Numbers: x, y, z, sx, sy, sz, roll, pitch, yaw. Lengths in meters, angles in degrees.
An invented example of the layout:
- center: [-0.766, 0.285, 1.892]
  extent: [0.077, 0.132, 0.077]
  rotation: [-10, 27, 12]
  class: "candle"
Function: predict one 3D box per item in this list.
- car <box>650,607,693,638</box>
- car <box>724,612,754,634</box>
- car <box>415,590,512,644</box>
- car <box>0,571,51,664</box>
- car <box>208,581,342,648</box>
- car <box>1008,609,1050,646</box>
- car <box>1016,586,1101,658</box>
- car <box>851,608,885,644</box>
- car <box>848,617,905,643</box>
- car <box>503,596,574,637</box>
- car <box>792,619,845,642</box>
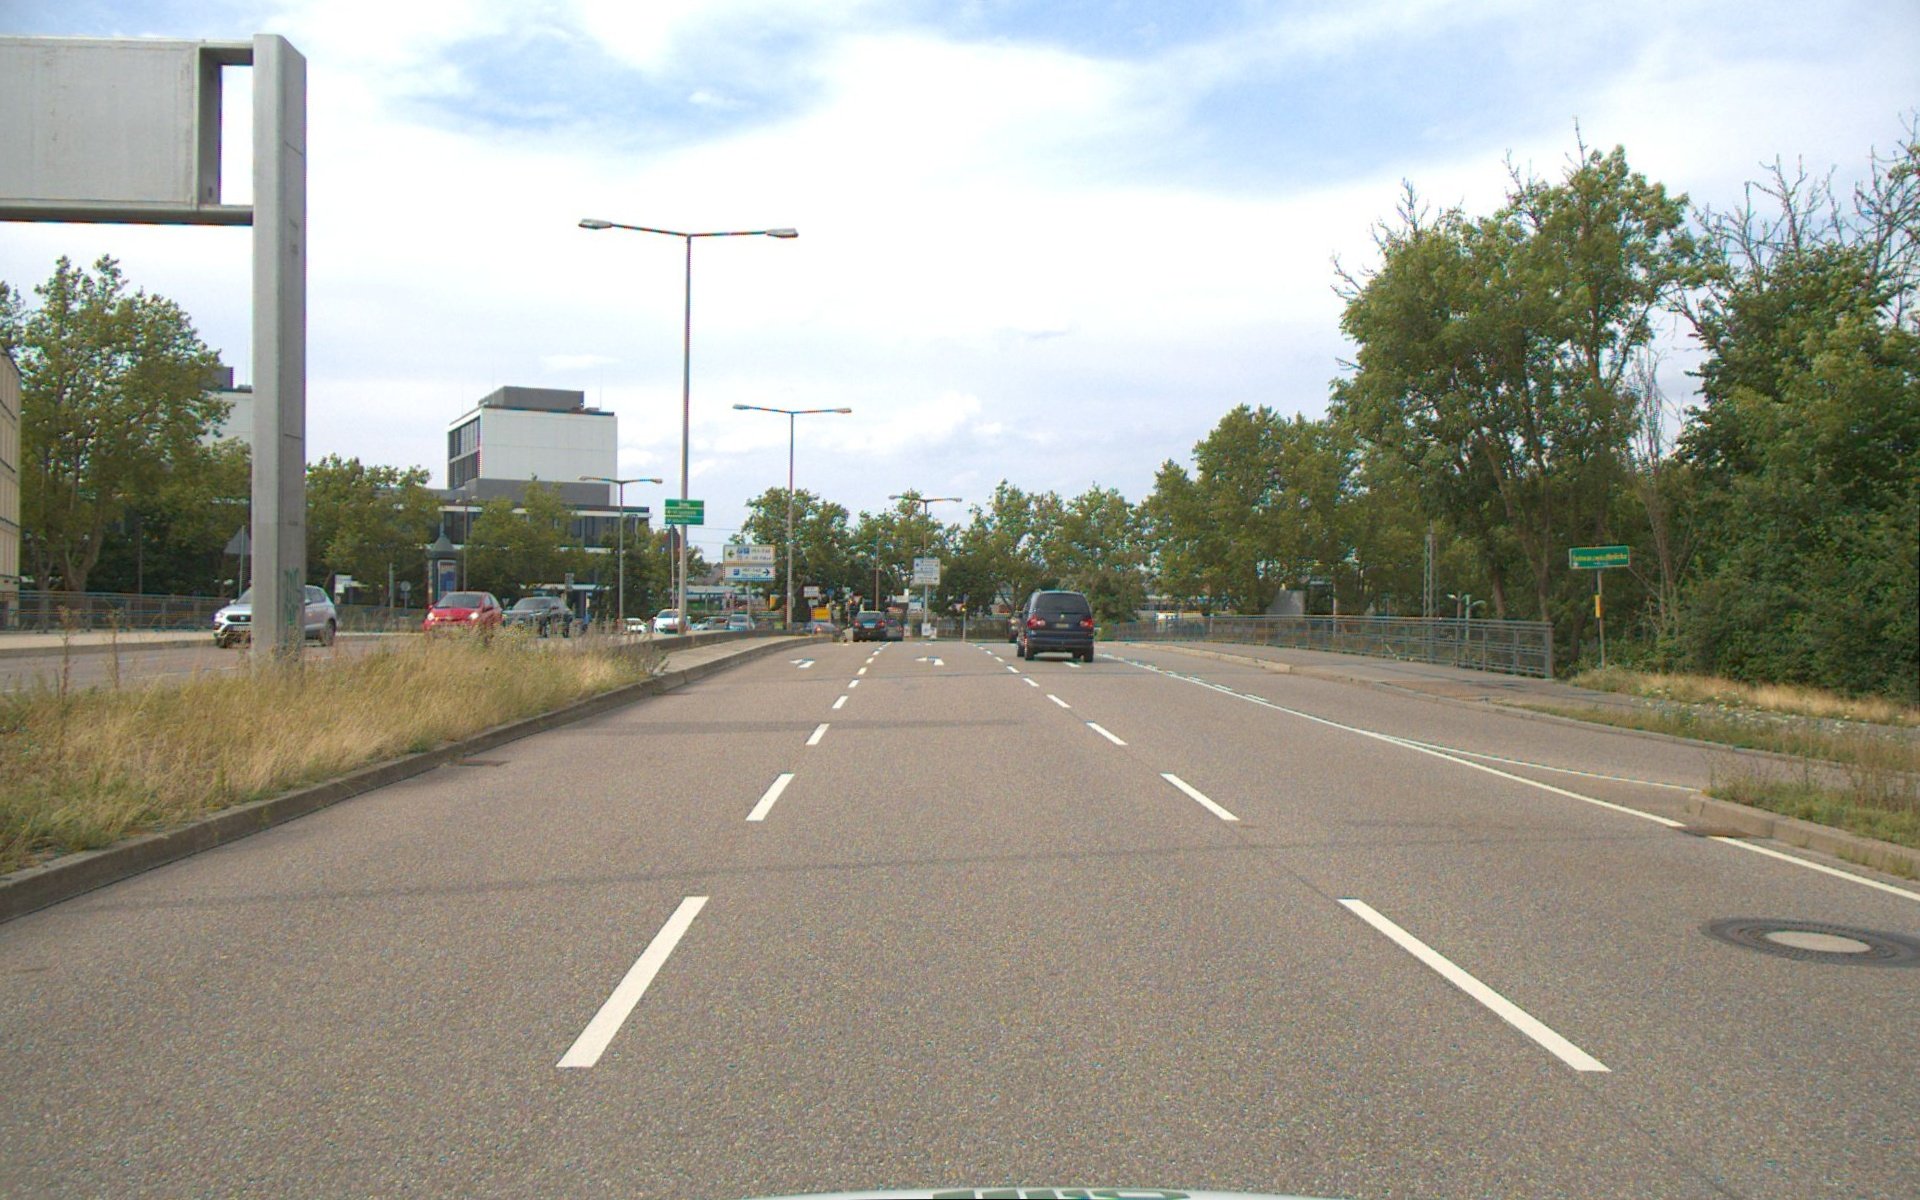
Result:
- center: [-14.776, 1.122, 84.878]
  extent: [1.702, 1.508, 4.080]
  rotation: [-1, 0, -4]
  class: "car"
- center: [-13.226, 1.368, 98.849]
  extent: [1.476, 1.235, 4.072]
  rotation: [-1, 0, -12]
  class: "car"
- center: [-14.274, 0.463, 47.744]
  extent: [1.757, 1.466, 3.796]
  rotation: [-1, 0, -2]
  class: "car"
- center: [-16.855, 0.314, 26.870]
  extent: [1.757, 1.551, 4.592]
  rotation: [-1, 0, -2]
  class: "car"
- center: [-17.165, 0.341, 41.656]
  extent: [1.757, 1.551, 4.187]
  rotation: [-1, 0, -2]
  class: "car"
- center: [3.458, 1.362, 83.530]
  extent: [1.696, 1.681, 4.113]
  rotation: [2, 1, -3]
  class: "car"
- center: [2.493, 0.532, 42.626]
  extent: [1.696, 1.681, 4.113]
  rotation: [2, 1, -3]
  class: "car"
- center: [-4.763, 1.343, 85.986]
  extent: [1.696, 1.681, 4.113]
  rotation: [2, 1, -3]
  class: "car"
- center: [-5.737, 2.025, 113.013]
  extent: [1.721, 1.553, 4.054]
  rotation: [1, 1, -41]
  class: "car"
- center: [-16.891, 0.650, 66.396]
  extent: [1.883, 1.551, 4.187]
  rotation: [-1, 0, -2]
  class: "car"
- center: [-9.896, 2.110, 115.422]
  extent: [3.569, 1.443, 1.726]
  rotation: [2, 1, 42]
  class: "car"
